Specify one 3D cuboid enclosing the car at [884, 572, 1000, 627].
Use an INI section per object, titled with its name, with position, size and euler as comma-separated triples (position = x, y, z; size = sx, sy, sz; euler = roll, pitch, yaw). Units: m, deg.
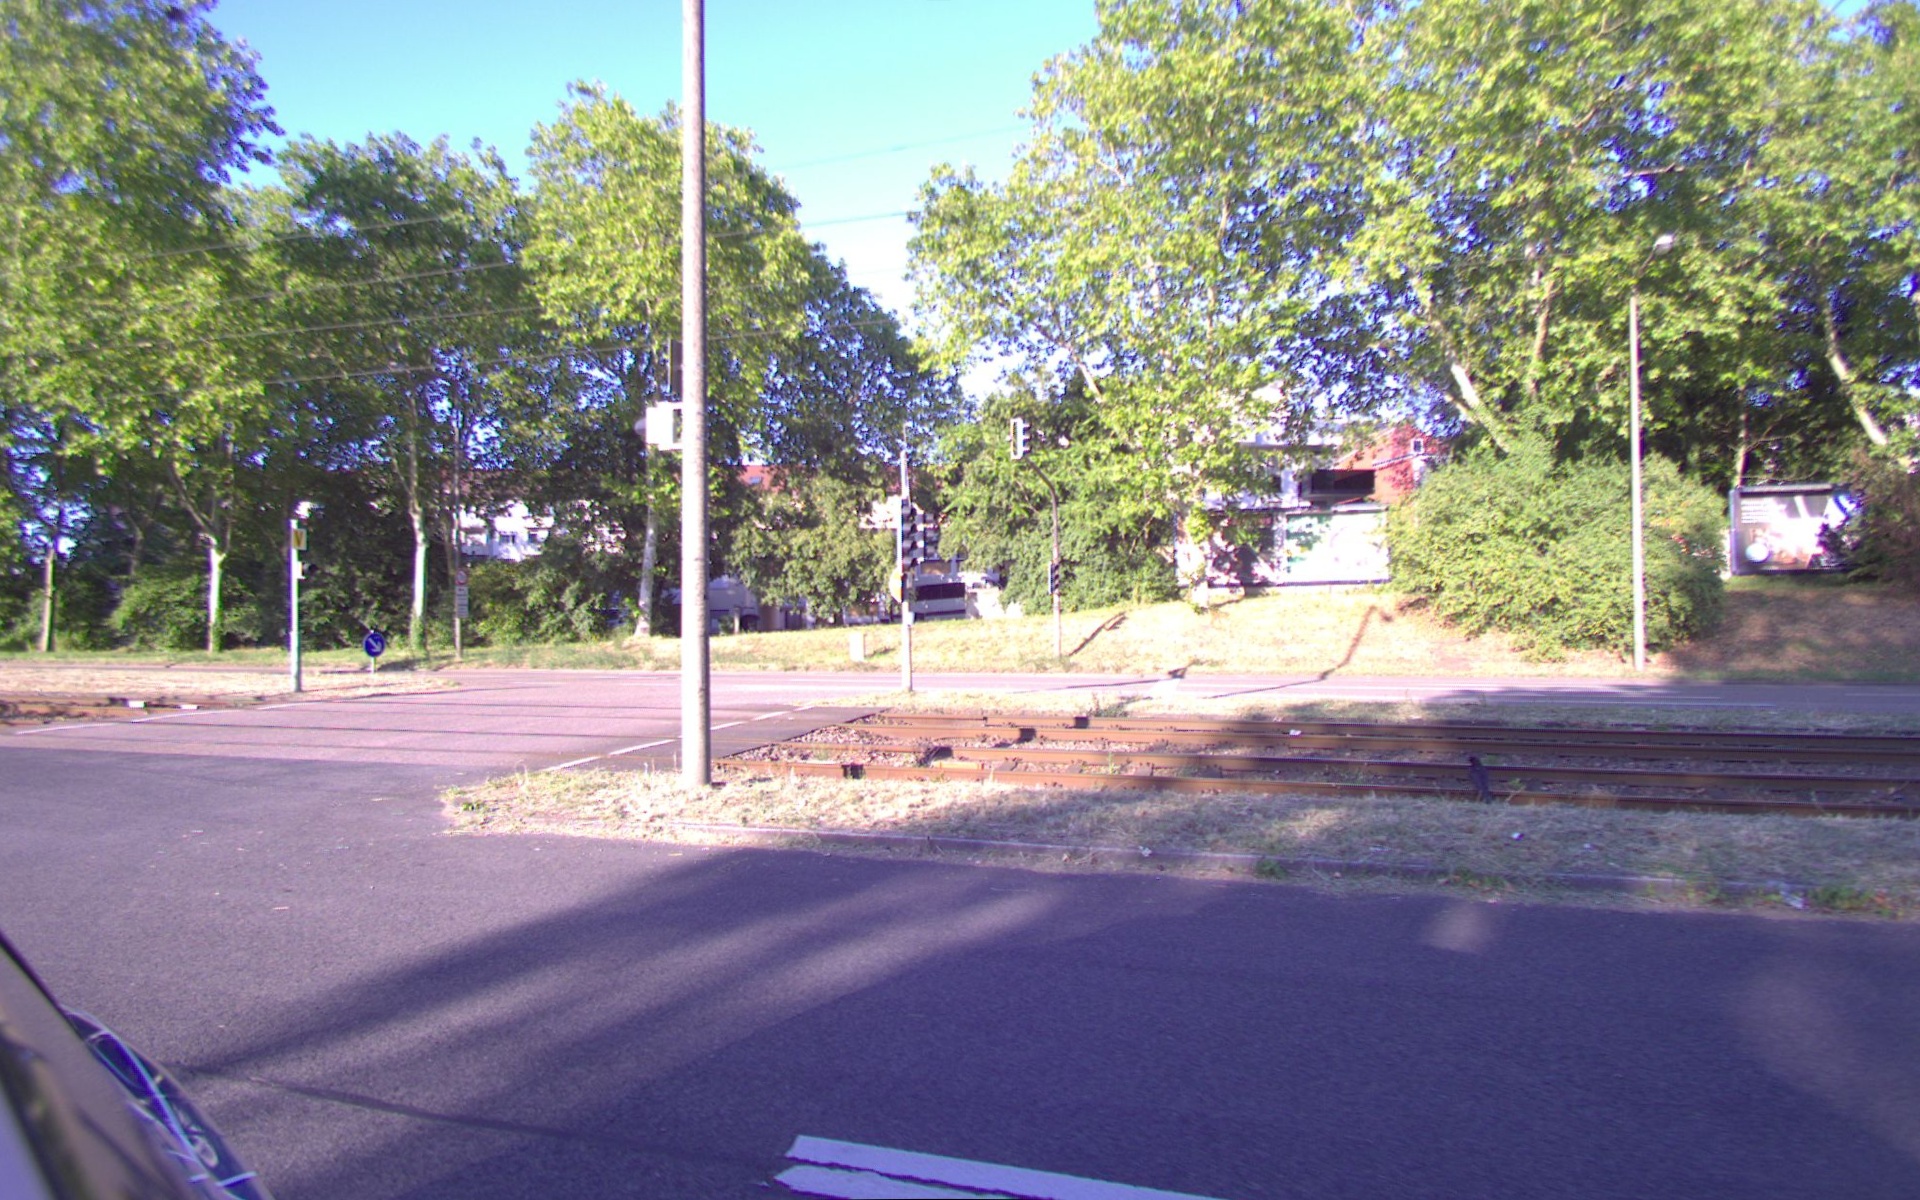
[car]
position = -0.921, 0.025, 50.789
size = 5.587, 2.532, 1.794
euler = -2, -3, 21
